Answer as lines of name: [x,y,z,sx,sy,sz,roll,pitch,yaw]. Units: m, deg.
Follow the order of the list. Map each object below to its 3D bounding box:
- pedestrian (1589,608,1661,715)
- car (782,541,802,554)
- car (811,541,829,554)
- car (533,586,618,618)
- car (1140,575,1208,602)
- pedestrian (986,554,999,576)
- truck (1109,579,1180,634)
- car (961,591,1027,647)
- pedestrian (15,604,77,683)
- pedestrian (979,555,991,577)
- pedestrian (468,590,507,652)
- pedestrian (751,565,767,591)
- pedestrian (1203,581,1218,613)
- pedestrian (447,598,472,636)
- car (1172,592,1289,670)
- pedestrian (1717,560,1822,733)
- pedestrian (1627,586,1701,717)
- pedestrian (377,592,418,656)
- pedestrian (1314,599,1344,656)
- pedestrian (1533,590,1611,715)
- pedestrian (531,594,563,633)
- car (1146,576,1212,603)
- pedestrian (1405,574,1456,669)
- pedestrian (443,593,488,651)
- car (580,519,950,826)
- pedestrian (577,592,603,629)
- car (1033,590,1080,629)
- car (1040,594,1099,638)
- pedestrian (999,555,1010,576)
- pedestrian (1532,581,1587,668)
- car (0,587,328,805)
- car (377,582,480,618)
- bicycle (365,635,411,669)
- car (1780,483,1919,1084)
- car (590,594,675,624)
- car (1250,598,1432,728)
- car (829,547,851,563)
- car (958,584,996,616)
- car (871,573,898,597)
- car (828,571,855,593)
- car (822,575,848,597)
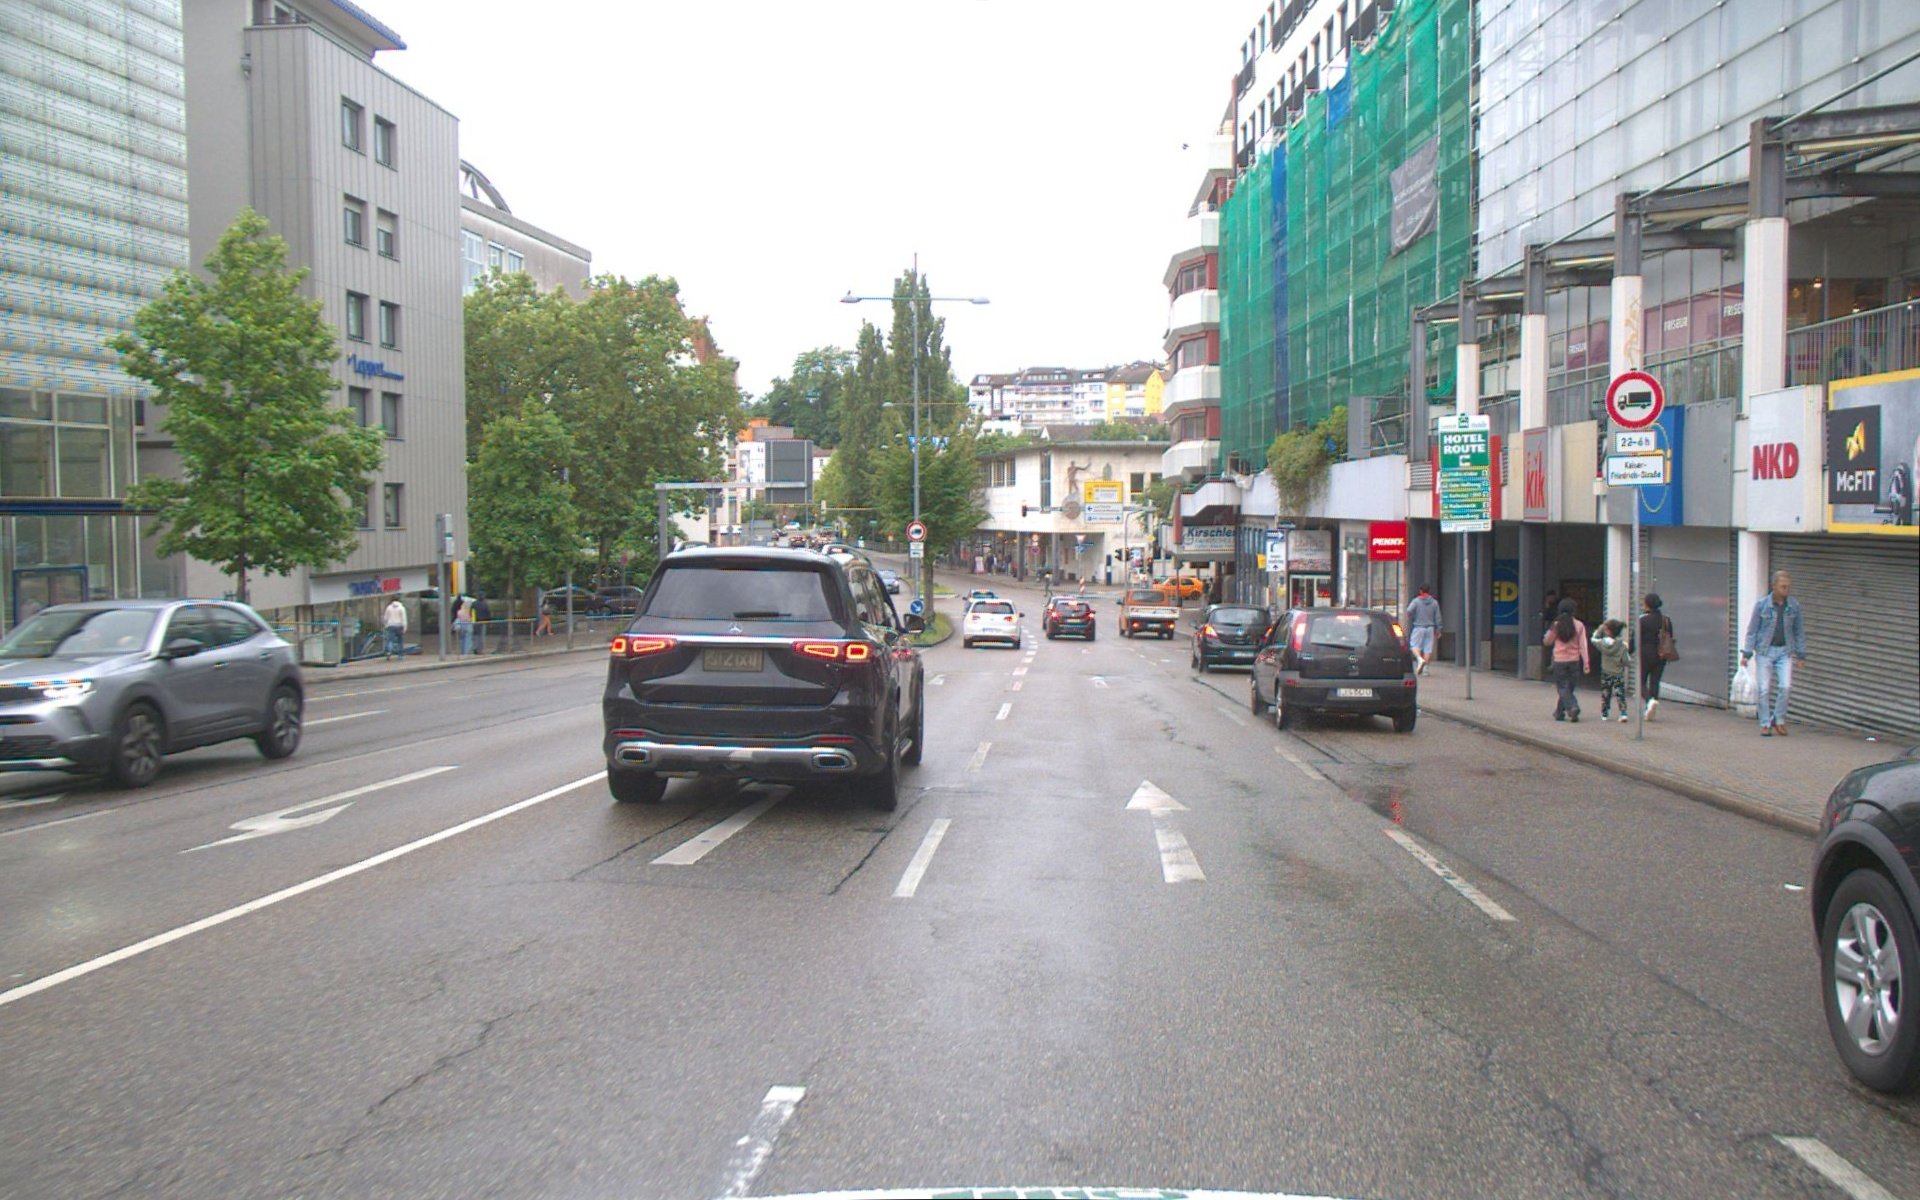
pedestrian: [7.843,0.722,19.525,0.675,1.228,0.554,-1,0,10]
car: [-21.669,-6.824,213.875,1.723,1.581,3.547,0,0,-21]
car: [-17.974,-6.755,212.491,1.800,1.616,3.862,0,0,-12]
car: [-21.511,0.103,92.655,4.601,1.672,1.781,2,0,-13]
car: [13.415,-0.727,103.937,3.921,1.645,1.772,0,0,-8]
pedestrian: [2.741,-2.953,140.581,0.831,1.834,1.053,-1,0,-13]
truck: [7.452,0.226,67.209,2.139,2.119,5.602,0,0,-1]
car: [1.052,0.553,50.566,1.909,1.601,4.001,1,0,2]
pedestrian: [-17.549,0.823,31.780,0.638,1.482,0.845,-1,0,9]
pedestrian: [2.113,-2.930,141.748,0.784,1.834,0.915,-1,0,-13]
pedestrian: [-13.606,0.580,47.643,0.799,1.743,1.312,-1,0,-5]
pedestrian: [-14.222,-1.529,116.837,0.897,1.834,0.619,-1,0,-39]
pedestrian: [13.812,-0.148,91.152,0.565,1.729,0.649,-1,0,-12]
pedestrian: [-23.475,0.809,77.584,0.741,1.752,0.952,-1,0,14]
car: [5.914,0.641,36.584,1.910,1.601,4.000,1,0,0]
pedestrian: [8.377,0.473,17.145,0.818,1.752,0.618,-1,0,10]
pedestrian: [8.256,0.596,19.423,0.756,1.492,0.704,-1,0,22]
pedestrian: [-15.689,0.666,46.156,0.976,1.752,1.034,-1,0,-16]
pedestrian: [10.941,0.812,49.009,0.632,1.678,0.558,-2,-1,44]
pedestrian: [7.344,0.622,19.877,0.730,1.463,0.598,-2,0,10]
pedestrian: [-19.300,0.628,77.303,0.933,1.752,1.012,-1,2,36]
car: [13.746,-0.668,104.008,3.751,1.645,1.769,0,0,-14]
pedestrian: [8.800,0.389,30.991,0.818,1.752,0.830,-1,0,10]
pedestrian: [-15.334,0.666,51.324,0.952,1.752,1.091,-1,0,9]
car: [-1.247,0.435,12.808,2.044,1.848,4.794,2,0,2]
pedestrian: [-17.786,0.511,79.447,0.930,1.752,0.759,-1,0,25]
car: [4.221,0.412,72.744,1.725,1.569,4.000,1,1,-1]
car: [4.103,0.580,62.492,1.775,1.466,3.999,2,1,-2]
pedestrian: [3.792,-2.946,141.191,0.690,1.834,0.936,-1,0,-13]
pedestrian: [12.256,0.494,33.828,0.664,1.745,0.807,-1,0,-37]
car: [-7.261,0.718,14.279,1.802,1.579,4.096,-2,0,3]
car: [-28.565,0.020,89.011,4.980,1.790,1.995,2,0,-11]
bicycle: [-20.210,1.814,58.478,0.599,1.106,2.671,0,0,2]
car: [3.774,0.578,3.742,1.867,1.816,4.304,0,1,3]
car: [-17.898,0.485,90.586,4.508,1.508,1.937,2,0,-11]
car: [4.629,0.705,20.546,1.680,1.445,3.772,0,0,5]
car: [-13.246,-4.969,182.294,1.958,1.624,3.989,0,0,-11]
car: [0.803,-0.015,82.354,1.758,1.494,3.999,1,1,-1]
car: [-5.143,-1.007,112.931,1.784,1.576,3.998,0,0,-3]
car: [-8.621,-1.277,119.696,1.744,1.576,3.994,0,0,-7]
car: [-8.480,-0.971,112.040,1.673,1.476,3.857,0,0,-6]
